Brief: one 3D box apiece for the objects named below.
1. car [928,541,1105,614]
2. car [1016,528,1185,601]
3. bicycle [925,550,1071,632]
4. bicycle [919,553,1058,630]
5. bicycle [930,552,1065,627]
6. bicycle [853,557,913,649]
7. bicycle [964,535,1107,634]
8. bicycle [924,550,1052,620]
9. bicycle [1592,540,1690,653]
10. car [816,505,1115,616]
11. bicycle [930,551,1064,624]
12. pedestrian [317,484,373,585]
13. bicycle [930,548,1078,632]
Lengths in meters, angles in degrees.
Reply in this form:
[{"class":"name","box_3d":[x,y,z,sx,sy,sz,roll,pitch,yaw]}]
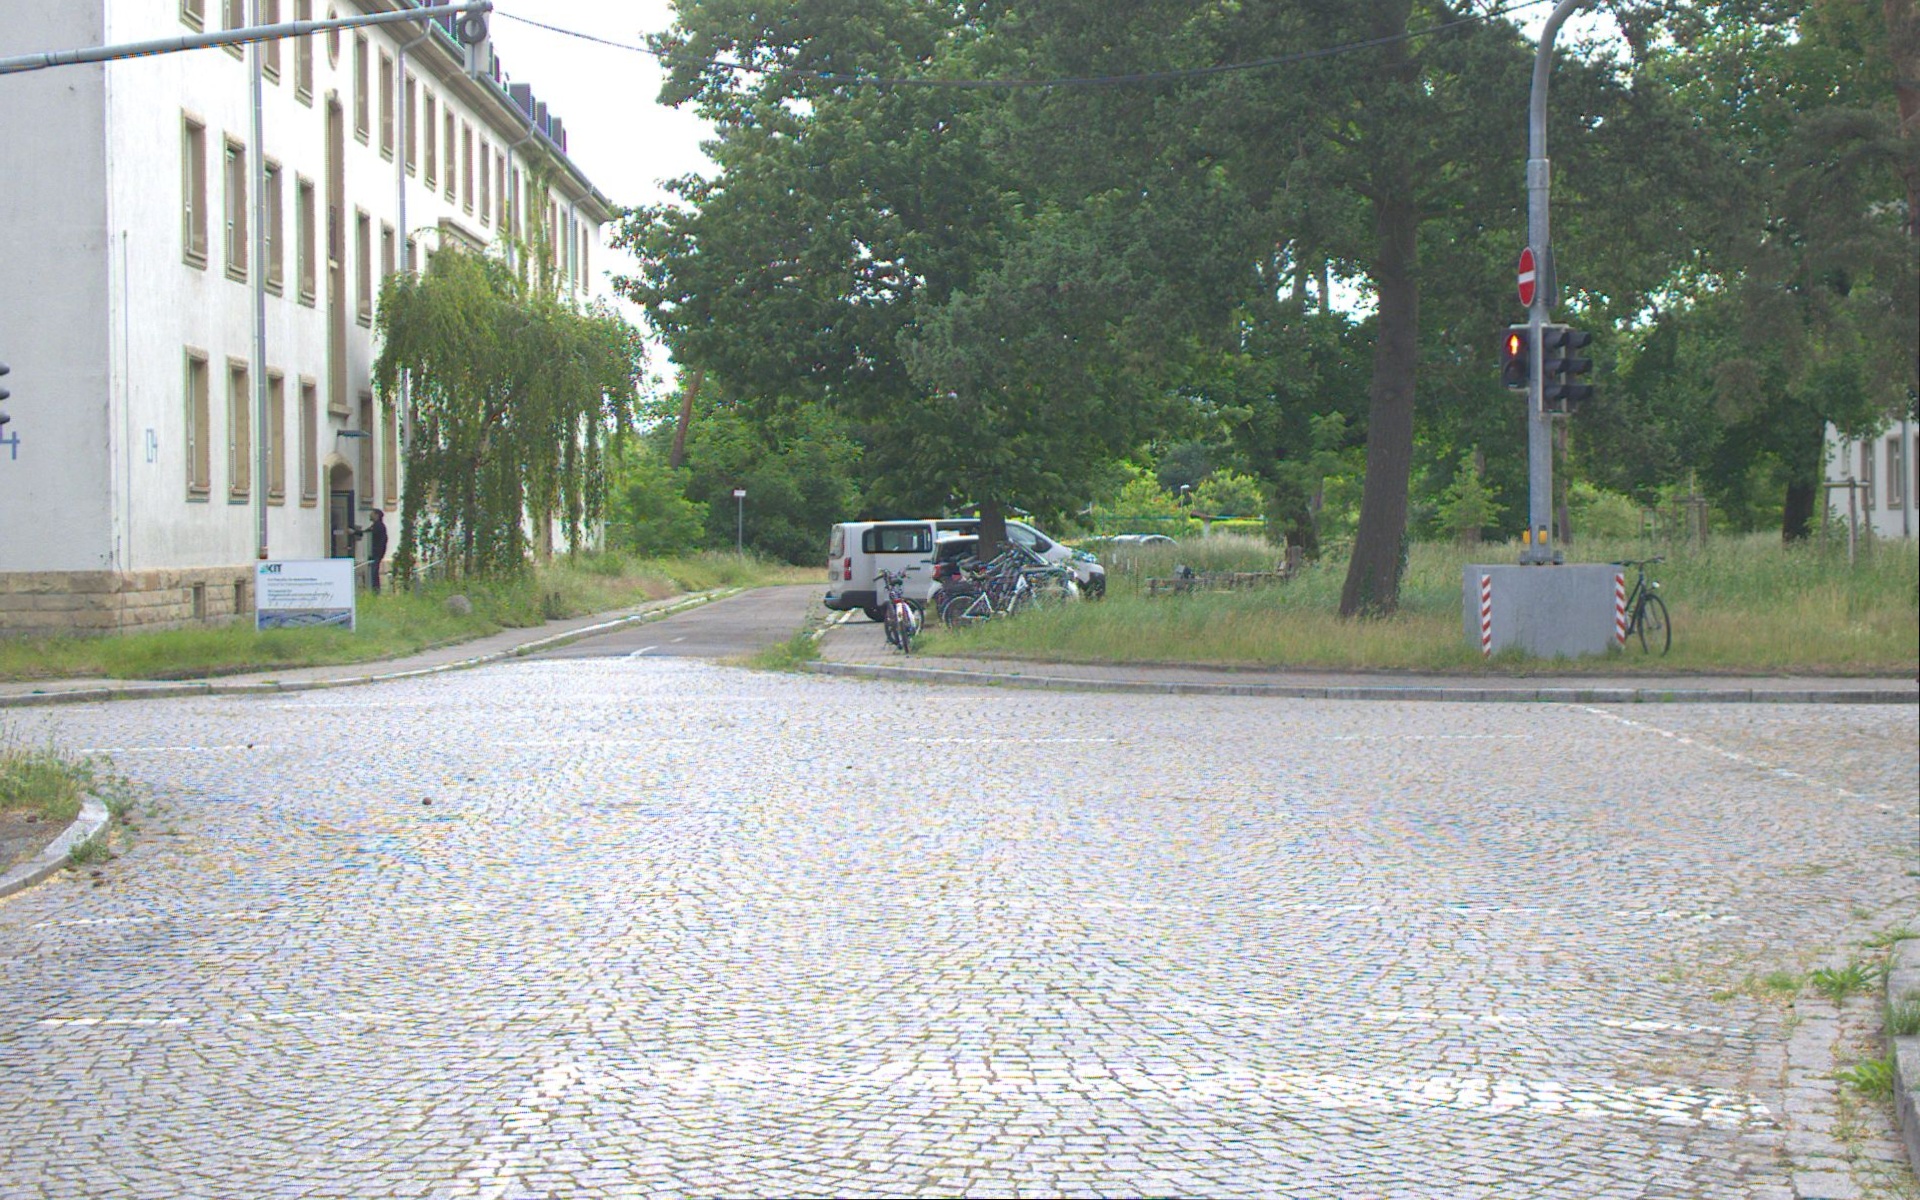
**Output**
[{"class":"car","box_3d":[0.997,-0.417,61.656,3.005,1.264,1.535,-1,1,-6]},{"class":"car","box_3d":[2.788,-0.719,68.894,3.231,1.411,1.725,0,1,-3]},{"class":"bicycle","box_3d":[0.526,-0.130,47.570,1.954,1.113,0.588,0,1,-7]},{"class":"bicycle","box_3d":[0.409,-0.134,49.054,1.955,1.066,0.588,-1,1,-30]},{"class":"bicycle","box_3d":[0.551,-0.158,50.403,1.955,1.066,0.588,-1,1,-30]},{"class":"bicycle","box_3d":[-0.990,0.023,43.744,0.603,1.128,1.962,0,1,-6]},{"class":"bicycle","box_3d":[1.061,-0.227,48.399,1.954,1.379,0.588,0,1,-7]},{"class":"bicycle","box_3d":[0.442,-0.241,54.089,1.954,1.066,0.588,-1,1,-25]},{"class":"bicycle","box_3d":[6.884,-0.053,34.817,0.586,1.102,1.961,0,1,-1]},{"class":"car","box_3d":[0.083,-0.753,65.015,5.359,1.918,2.025,-2,1,-9]},{"class":"bicycle","box_3d":[0.565,-0.198,51.757,1.954,1.066,0.588,-1,1,-25]},{"class":"pedestrian","box_3d":[-11.205,-1.199,62.674,0.774,1.831,0.741,-1,1,-31]},{"class":"bicycle","box_3d":[0.595,-0.141,46.936,1.954,1.128,0.588,0,1,-7]}]
